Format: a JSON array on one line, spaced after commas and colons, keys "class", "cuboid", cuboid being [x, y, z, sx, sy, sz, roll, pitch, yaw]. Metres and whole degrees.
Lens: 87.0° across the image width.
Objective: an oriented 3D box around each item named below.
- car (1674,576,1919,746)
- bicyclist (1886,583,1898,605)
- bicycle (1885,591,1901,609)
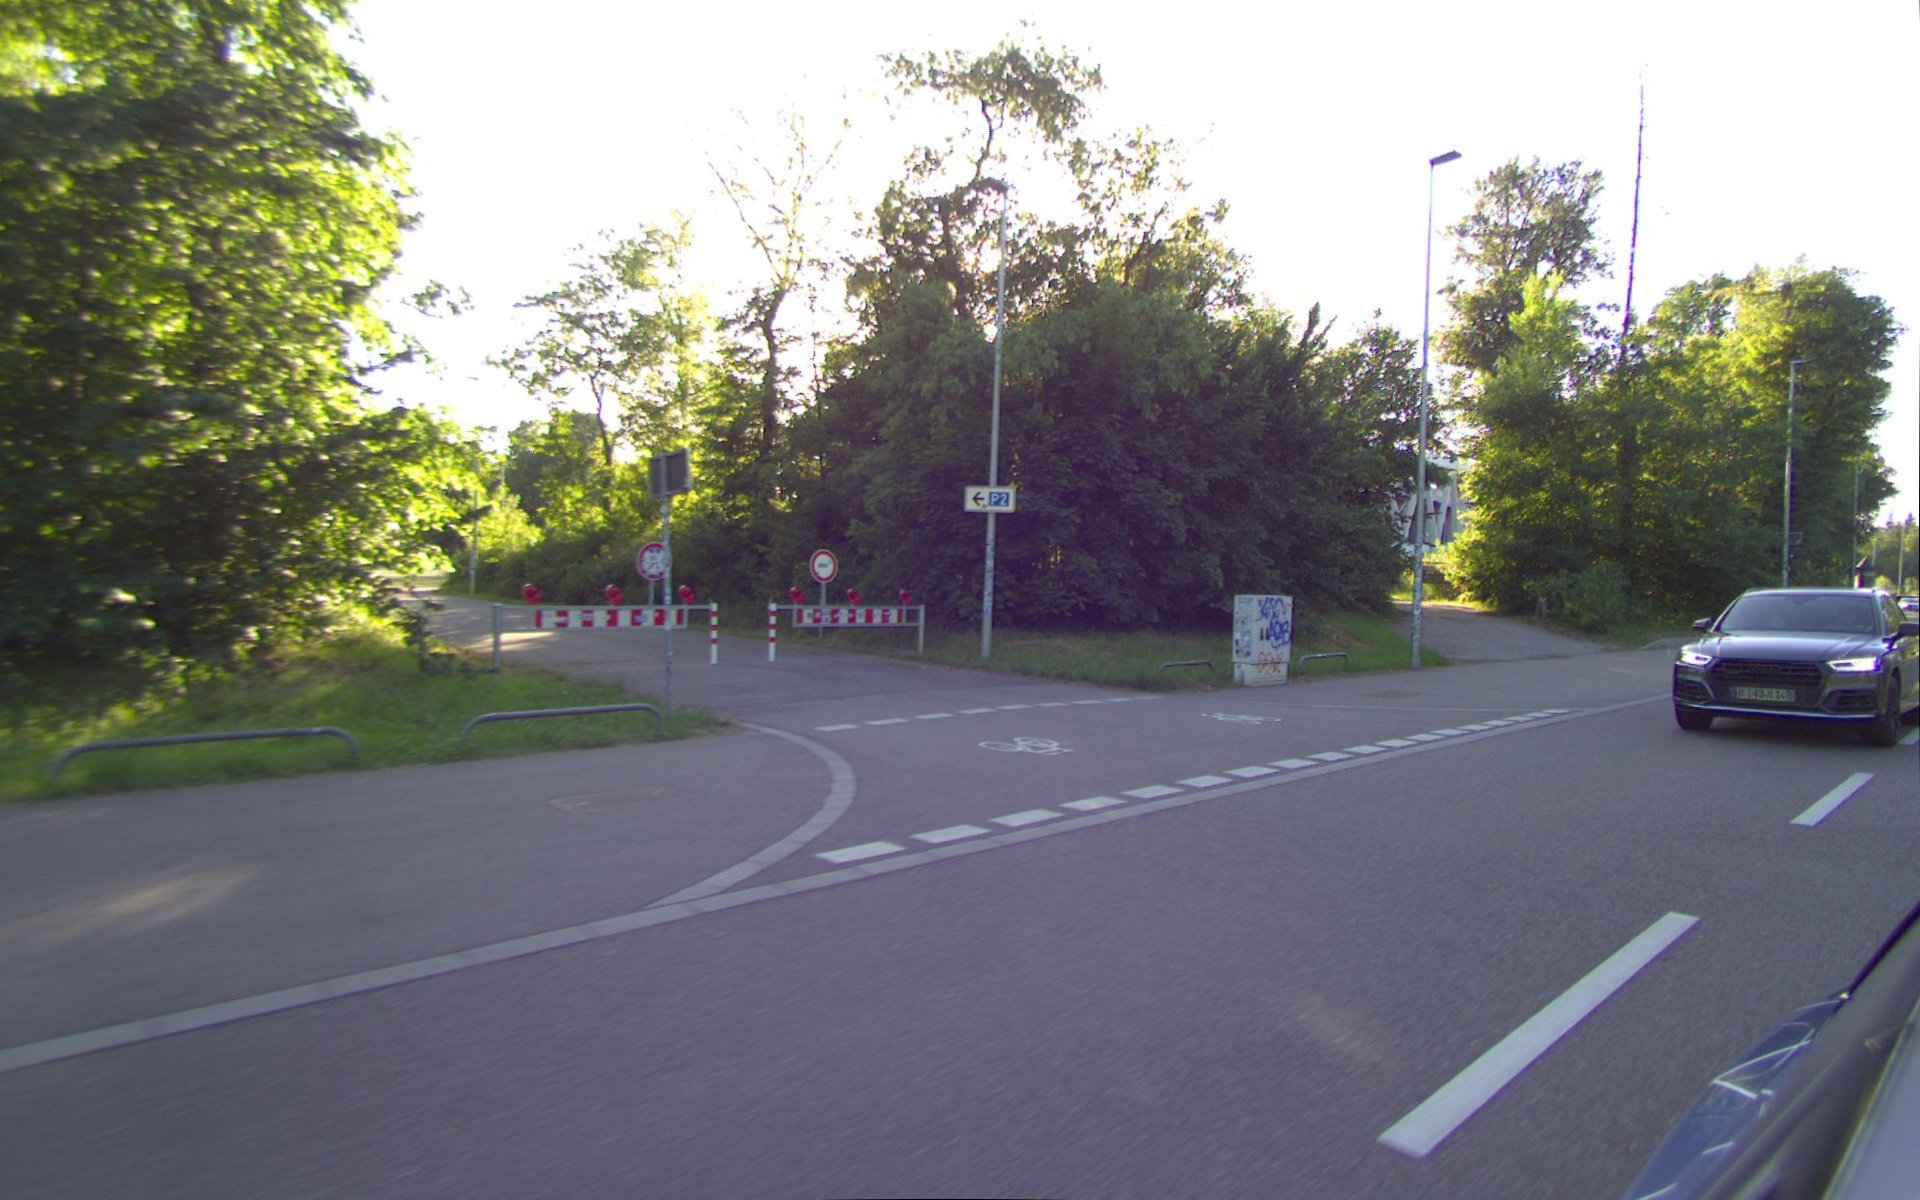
[{"class": "car", "cuboid": [10.143, 0.557, 11.883, 4.465, 1.625, 1.896, -1, 1, -41]}, {"class": "bicyclist", "cuboid": [62.940, -0.426, 68.351, 0.519, 1.487, 0.849, 1, 1, 37]}, {"class": "bicycle", "cuboid": [63.073, 0.014, 68.388, 0.553, 1.151, 1.839, 3, 2, 36]}]
